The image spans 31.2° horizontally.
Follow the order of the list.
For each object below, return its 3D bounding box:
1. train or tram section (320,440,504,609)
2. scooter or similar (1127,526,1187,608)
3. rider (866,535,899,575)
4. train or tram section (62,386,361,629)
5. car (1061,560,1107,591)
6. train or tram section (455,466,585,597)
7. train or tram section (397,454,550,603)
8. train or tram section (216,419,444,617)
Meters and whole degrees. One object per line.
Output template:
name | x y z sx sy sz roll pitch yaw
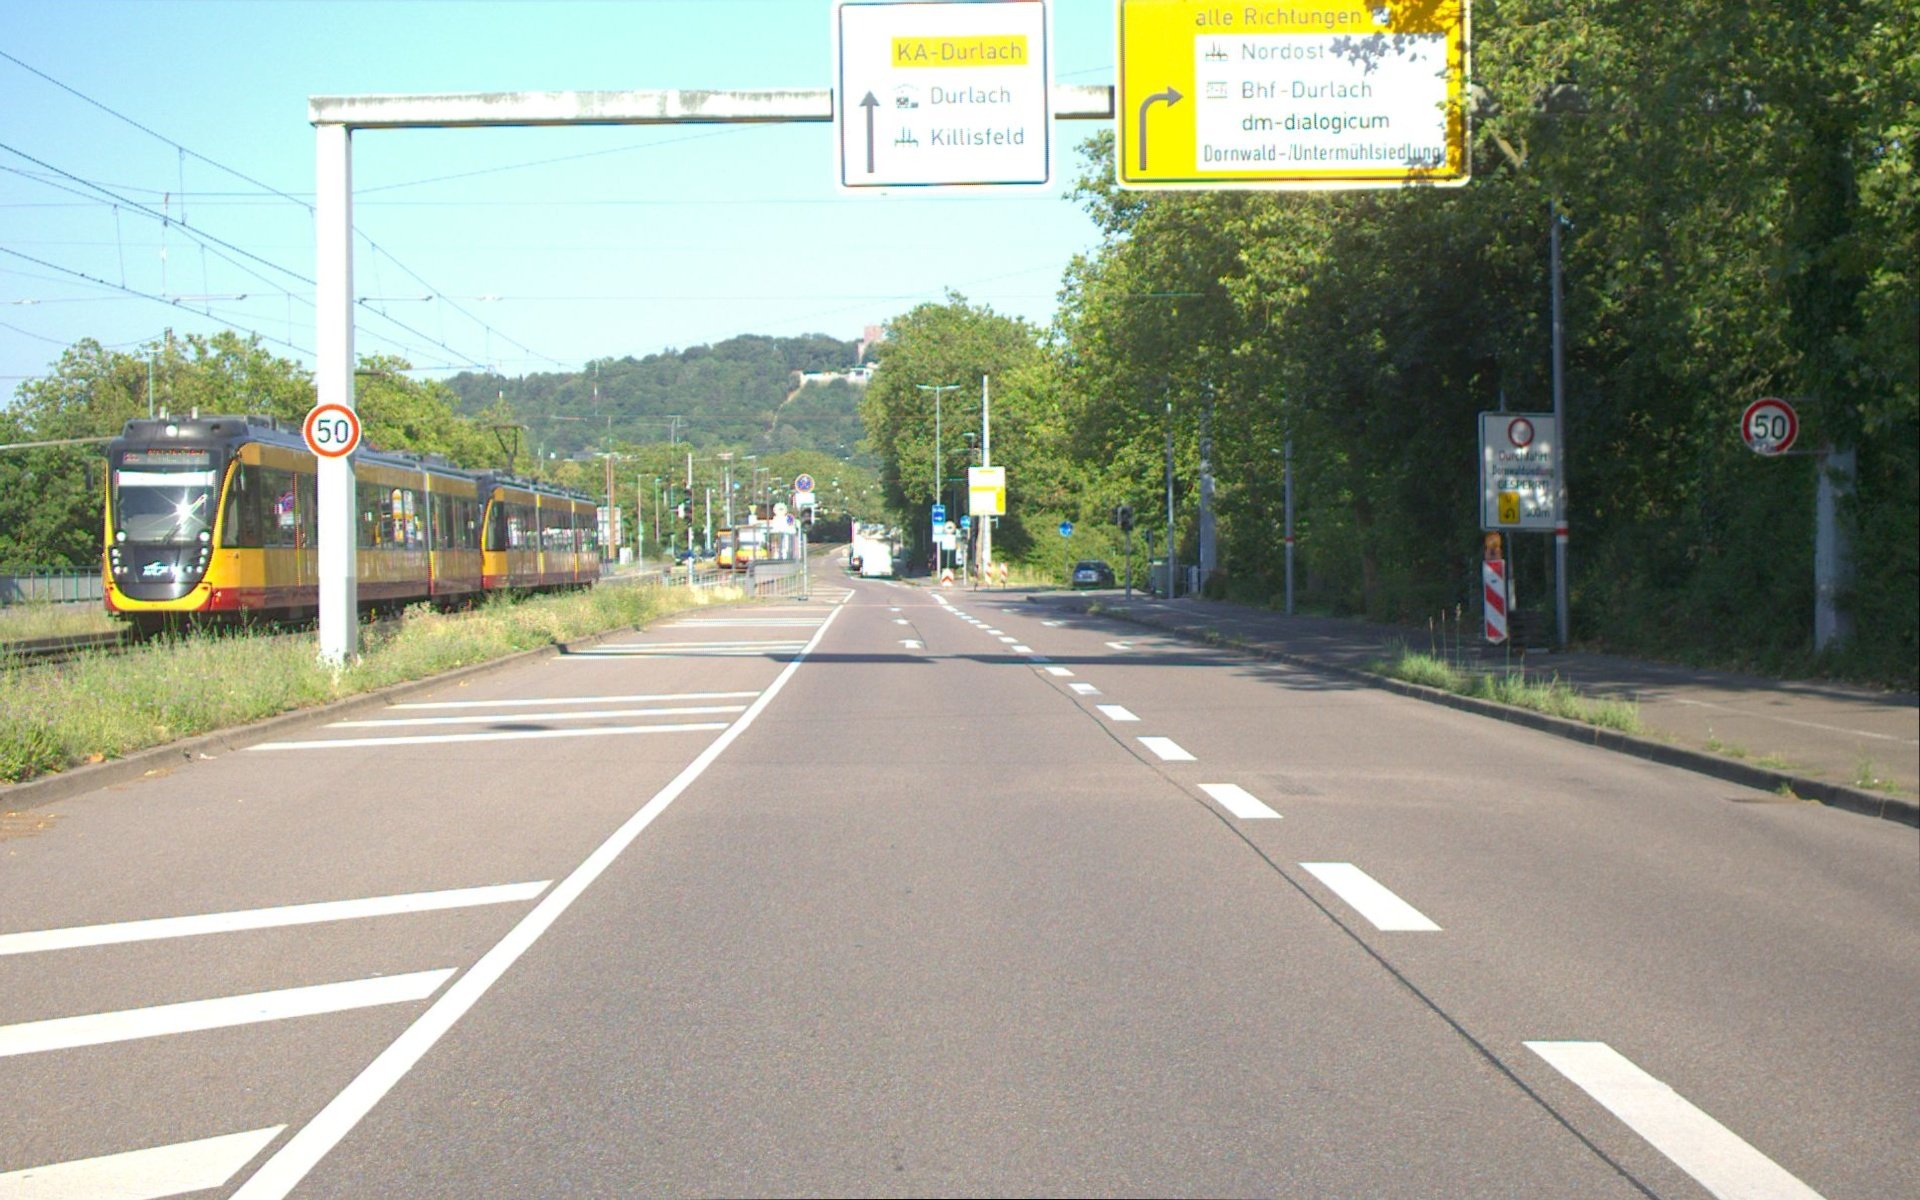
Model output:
train or tram section | -13.557 -1.812 85.995 2.804 3.889 11.813 1 1 -1
scooter or similar | 6.665 -1.135 116.924 1.681 2.706 4.869 0 1 -1
rider | -5.184 -3.004 230.535 2.109 2.638 0.736 0 1 4
train or tram section | -13.212 -1.564 61.932 2.804 3.889 12.333 1 1 -1
car | 6.391 -1.273 176.949 2.087 1.560 3.954 1 1 6
train or tram section | -14.079 -2.160 110.903 2.824 3.937 12.654 1 1 -1
train or tram section | -13.756 -1.964 98.228 2.824 3.937 12.708 1 1 -1
train or tram section | -13.379 -1.689 74.085 2.804 3.889 11.991 1 1 -1
